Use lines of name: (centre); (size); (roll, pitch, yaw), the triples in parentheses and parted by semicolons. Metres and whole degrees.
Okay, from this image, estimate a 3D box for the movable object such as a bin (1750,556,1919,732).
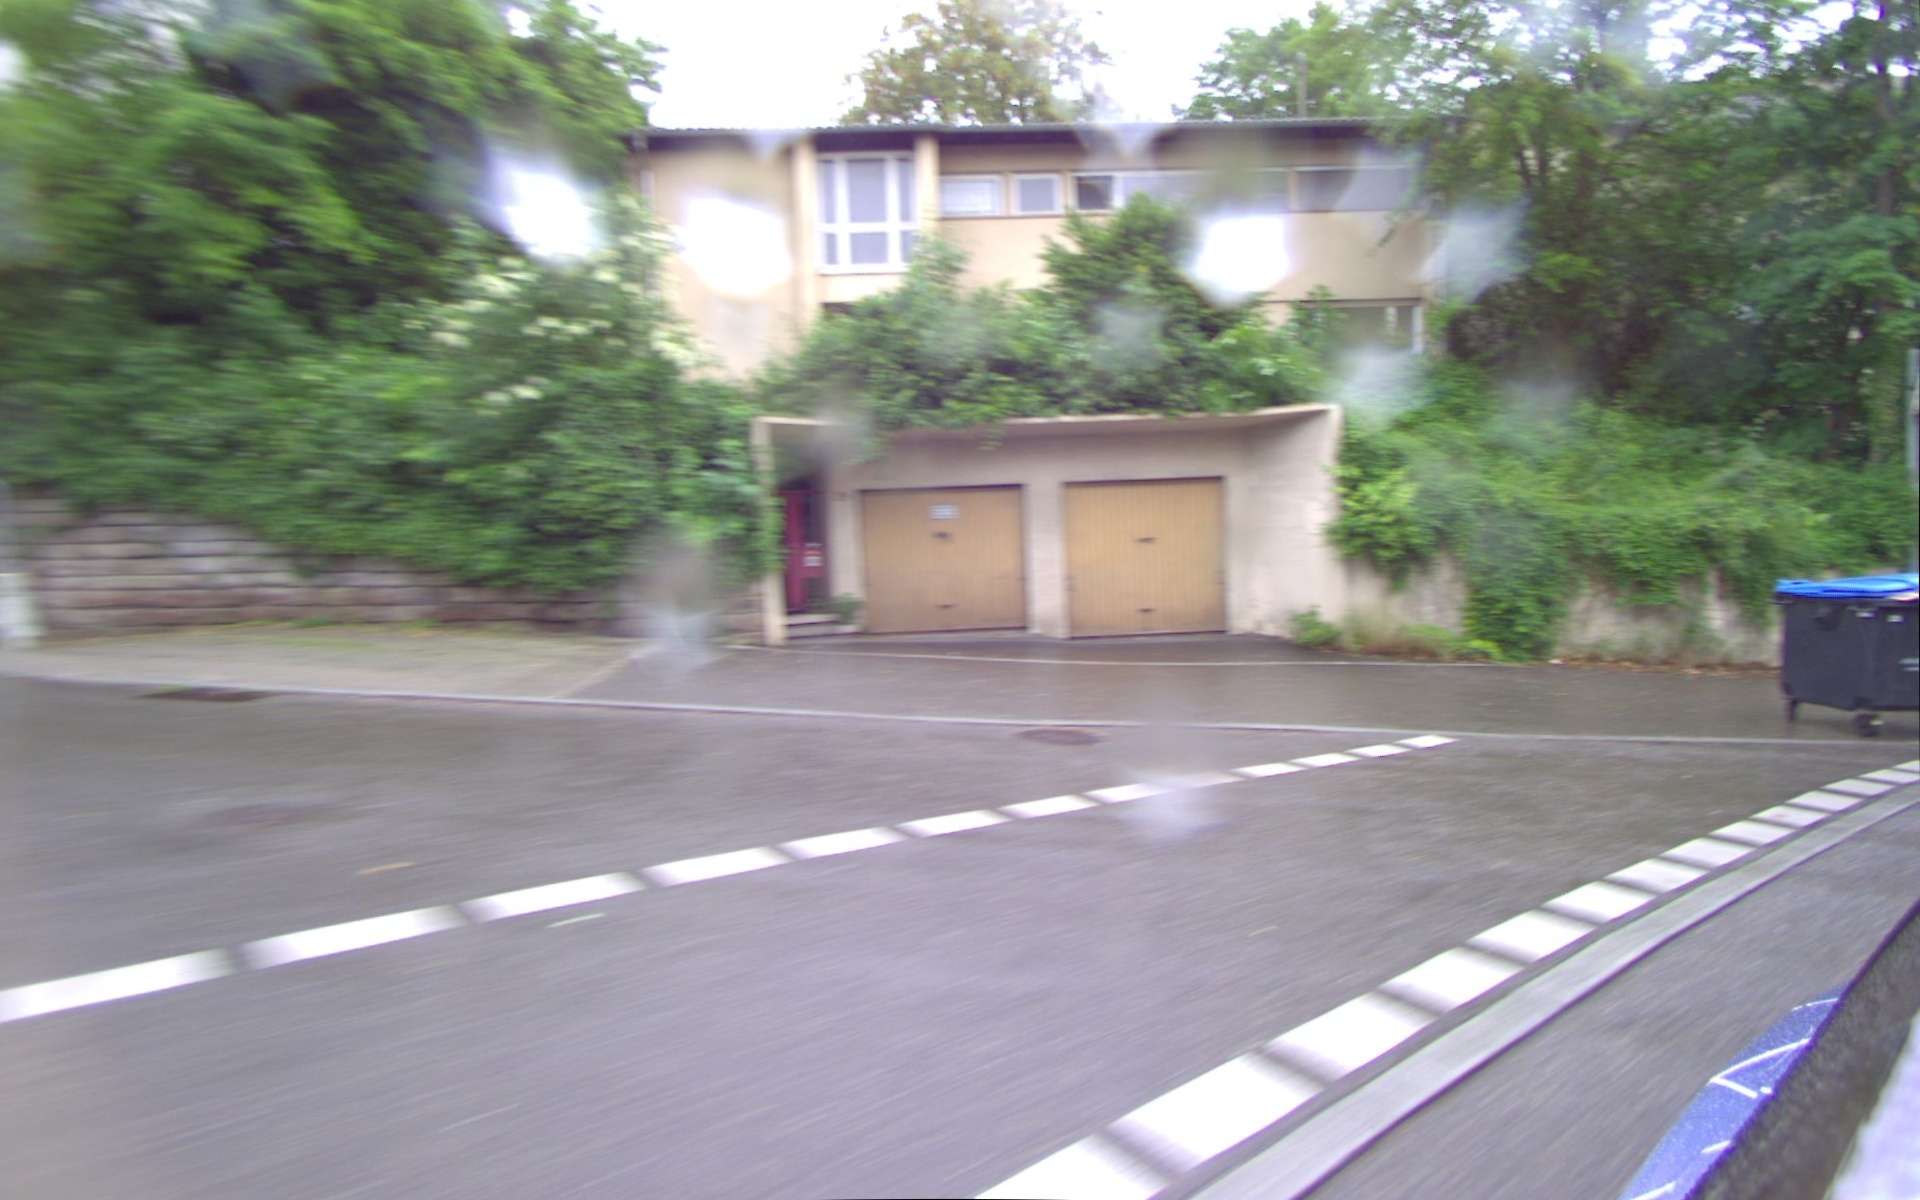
movable object such as a bin: (8.340, 0.342, 9.124); (1.454, 1.426, 1.162); (-1, 4, -8)
